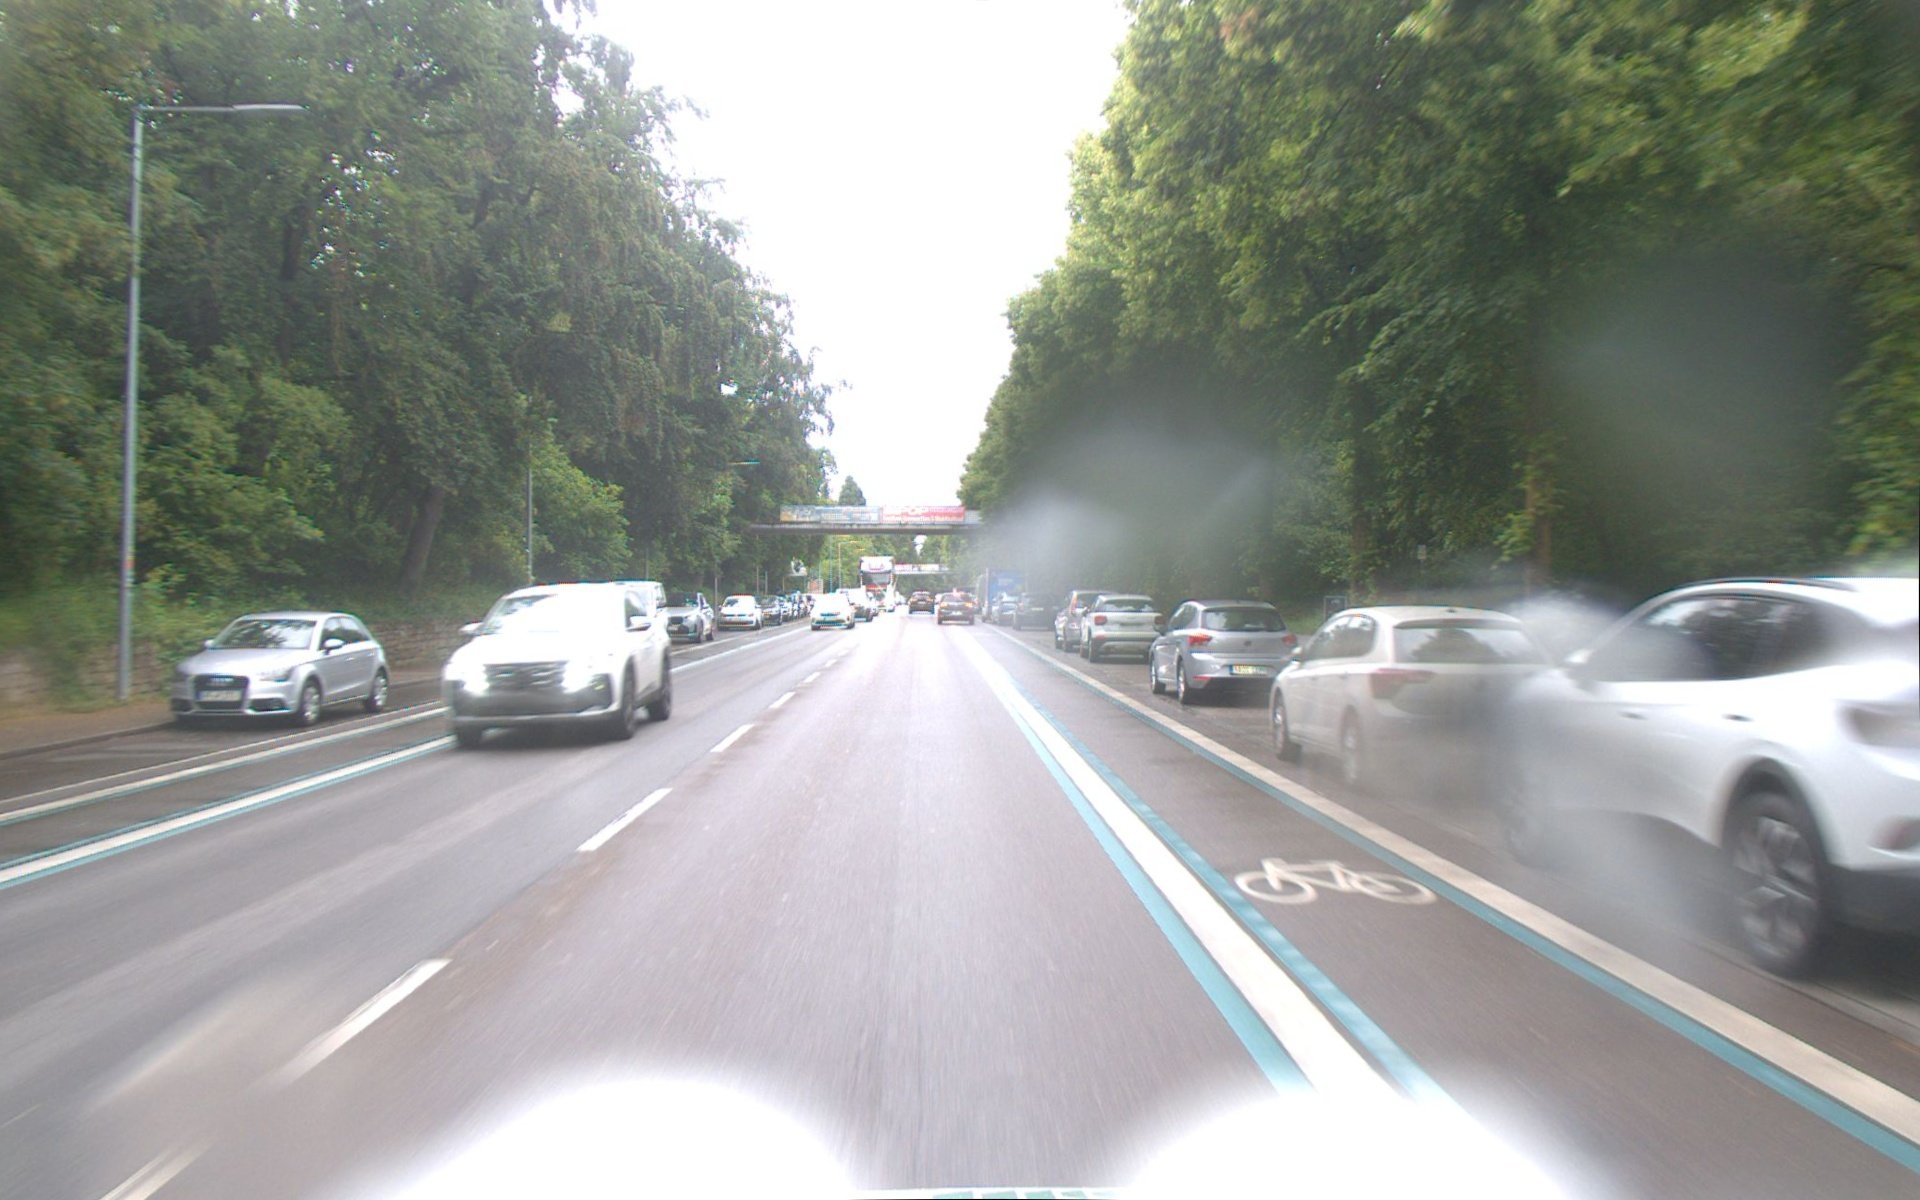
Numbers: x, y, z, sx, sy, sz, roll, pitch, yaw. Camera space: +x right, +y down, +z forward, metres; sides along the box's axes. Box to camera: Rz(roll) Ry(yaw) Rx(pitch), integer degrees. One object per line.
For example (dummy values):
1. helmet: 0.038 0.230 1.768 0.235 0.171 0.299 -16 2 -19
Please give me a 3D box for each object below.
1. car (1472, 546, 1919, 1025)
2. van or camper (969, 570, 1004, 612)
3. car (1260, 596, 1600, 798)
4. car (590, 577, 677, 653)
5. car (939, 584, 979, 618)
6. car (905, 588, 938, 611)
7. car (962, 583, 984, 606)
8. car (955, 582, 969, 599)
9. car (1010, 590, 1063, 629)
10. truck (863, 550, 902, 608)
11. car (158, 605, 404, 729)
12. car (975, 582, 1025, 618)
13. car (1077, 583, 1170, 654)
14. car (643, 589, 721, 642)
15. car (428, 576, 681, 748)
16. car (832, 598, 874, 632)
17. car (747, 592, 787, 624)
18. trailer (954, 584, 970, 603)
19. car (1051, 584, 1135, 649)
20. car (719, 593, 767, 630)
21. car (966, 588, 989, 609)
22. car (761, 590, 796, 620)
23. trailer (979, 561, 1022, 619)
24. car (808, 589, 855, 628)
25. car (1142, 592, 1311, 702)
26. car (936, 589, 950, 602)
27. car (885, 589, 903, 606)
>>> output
1. car: 4.271 0.637 8.160 1.953 1.691 4.561 0 0 -2
2. van or camper: 1.787 -0.638 113.167 2.001 2.777 6.898 1 0 -2
3. car: 3.884 0.726 14.368 1.664 1.479 3.944 1 0 -3
4. car: -9.208 0.371 47.025 1.935 2.040 5.013 0 1 -6
5. car: -0.057 0.045 77.725 1.781 1.534 4.138 0 0 0
6. car: -2.618 -0.029 112.512 2.097 1.518 4.495 1 0 -3
7. car: 1.149 -0.501 152.894 1.887 2.057 4.662 1 0 -1
8. car: 0.258 -1.241 212.928 1.850 2.164 4.044 -1 0 0
9. car: 3.092 0.359 67.515 1.789 1.529 4.569 -1 0 -2
10. truck: -5.802 -1.564 124.353 2.466 4.117 4.916 -3 0 0
11. car: -8.947 0.828 22.160 1.656 1.429 4.027 0 1 0
12. car: 1.810 -0.041 76.395 1.862 1.574 4.752 1 1 -4
13. car: 3.739 0.392 38.441 1.663 1.540 4.468 1 0 -1
14. car: -9.318 0.494 55.748 1.970 1.633 4.778 -1 1 -2
15. car: -4.393 0.581 18.632 1.915 1.667 4.443 -1 1 -3
16. car: -5.460 0.759 84.828 1.921 1.645 4.464 -1 0 -1
17. car: -9.679 0.368 83.080 1.795 1.502 4.037 -1 1 -4
18. trailer: 0.234 -0.799 196.050 1.845 2.204 3.807 -1 0 -1
19. car: 3.499 0.399 44.130 1.718 1.624 4.738 0 0 -2
20. car: -9.488 0.493 72.629 1.753 1.508 3.980 -1 1 -3
21. car: 1.371 -0.144 134.298 1.720 1.617 4.497 1 0 -1
22. car: -10.288 0.274 93.953 1.654 1.573 4.231 -1 1 -2
23. trailer: 1.987 -0.490 82.207 1.913 2.807 4.006 0 0 -1
24. car: -5.328 0.348 69.076 1.740 1.491 4.061 -3 0 -2
25. car: 3.875 0.632 24.656 1.664 1.479 4.095 1 0 -3
26. car: -2.173 -0.616 213.398 1.696 1.611 4.035 -1 0 -2
27. car: -6.807 -0.290 171.030 1.797 1.695 4.179 -2 0 -2
